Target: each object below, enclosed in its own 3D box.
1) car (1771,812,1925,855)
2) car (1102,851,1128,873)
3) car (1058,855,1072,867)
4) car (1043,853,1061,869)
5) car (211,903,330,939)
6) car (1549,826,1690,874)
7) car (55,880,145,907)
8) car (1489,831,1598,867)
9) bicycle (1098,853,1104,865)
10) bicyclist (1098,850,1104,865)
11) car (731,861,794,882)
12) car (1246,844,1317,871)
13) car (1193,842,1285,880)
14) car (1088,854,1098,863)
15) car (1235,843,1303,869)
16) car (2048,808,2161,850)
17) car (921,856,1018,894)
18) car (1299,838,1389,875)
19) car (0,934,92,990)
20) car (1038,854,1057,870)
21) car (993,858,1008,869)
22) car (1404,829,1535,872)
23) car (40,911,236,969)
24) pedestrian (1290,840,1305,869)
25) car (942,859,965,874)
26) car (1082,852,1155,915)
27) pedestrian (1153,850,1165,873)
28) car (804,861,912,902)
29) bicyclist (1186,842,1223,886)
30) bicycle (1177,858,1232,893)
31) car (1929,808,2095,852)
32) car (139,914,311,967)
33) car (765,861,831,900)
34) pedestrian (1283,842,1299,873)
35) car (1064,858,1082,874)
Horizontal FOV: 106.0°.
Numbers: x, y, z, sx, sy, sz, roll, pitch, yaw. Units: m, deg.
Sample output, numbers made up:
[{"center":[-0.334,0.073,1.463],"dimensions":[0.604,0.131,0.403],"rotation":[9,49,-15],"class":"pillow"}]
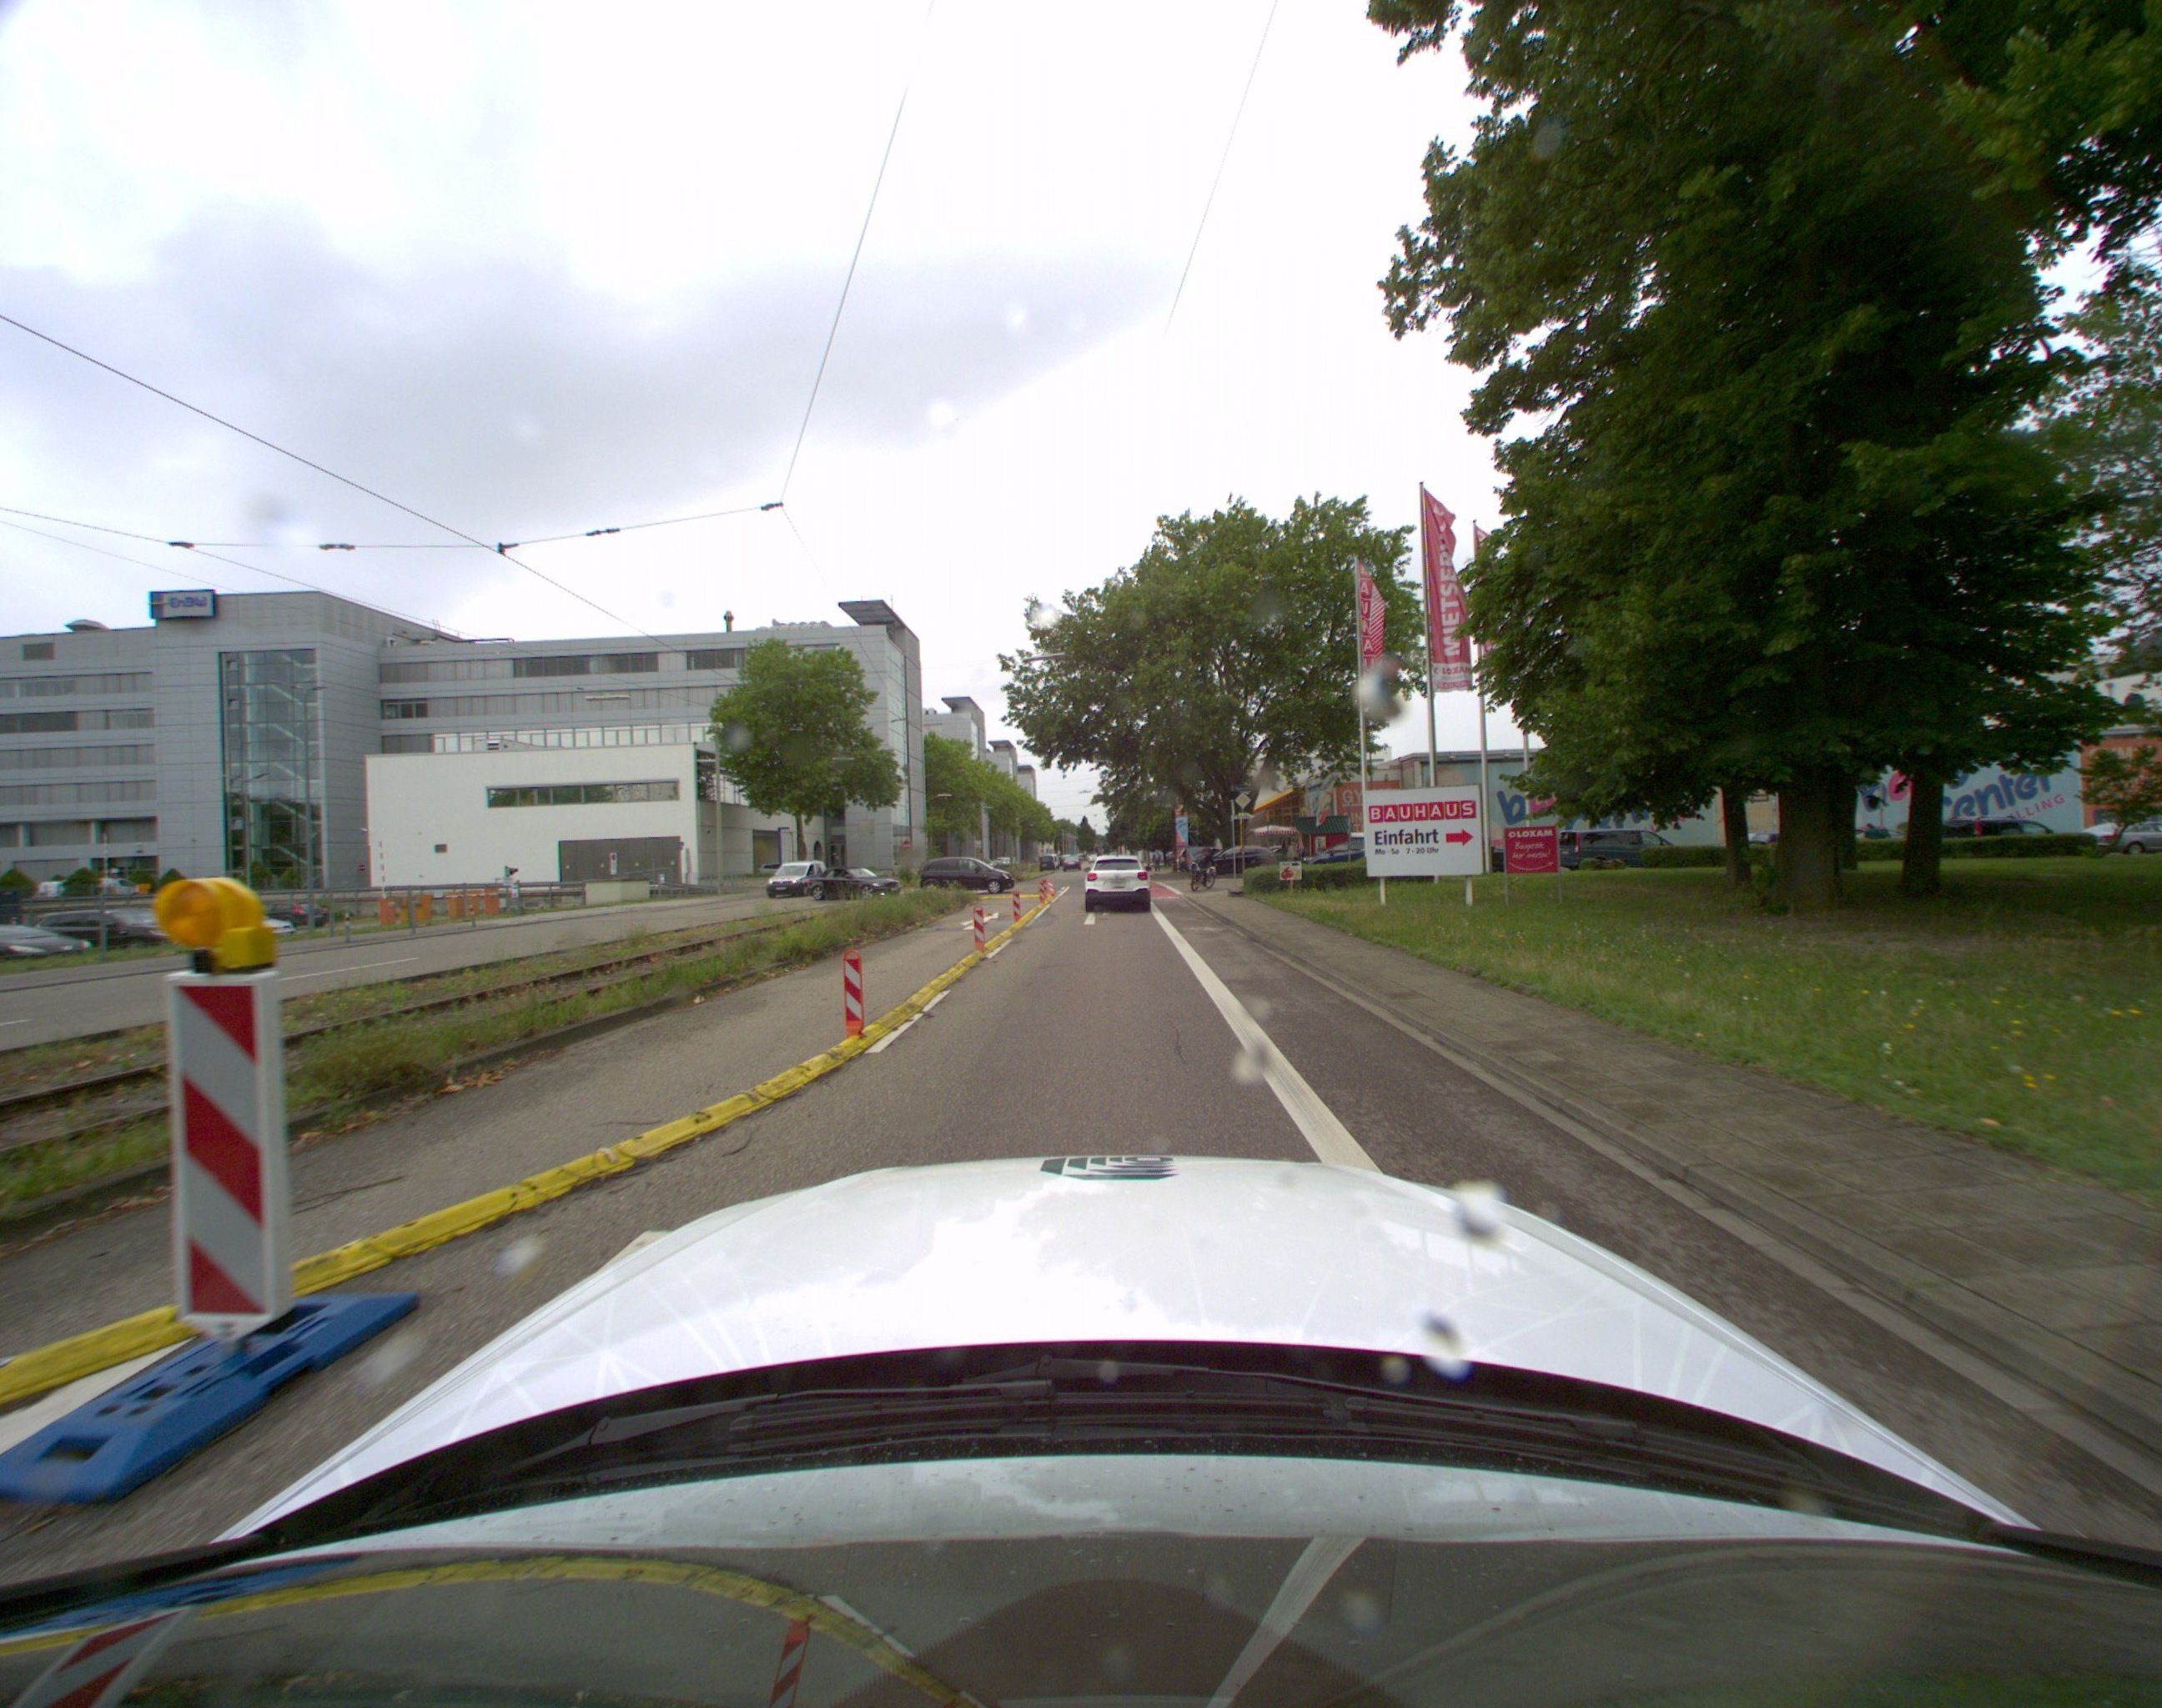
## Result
[{"center":[32.554,-0.849,34.670],"dimensions":[4.536,1.572,2.074],"rotation":[-3,0,1],"class":"car"},{"center":[2.703,0.622,65.778],"dimensions":[1.870,1.632,4.000],"rotation":[-3,0,1],"class":"car"},{"center":[-2.384,1.058,123.871],"dimensions":[1.870,1.763,4.000],"rotation":[-3,0,1],"class":"car"},{"center":[-3.400,0.844,95.474],"dimensions":[1.870,1.763,4.000],"rotation":[-3,0,1],"class":"car"},{"center":[-40.891,3.350,41.159],"dimensions":[3.975,1.485,1.912],"rotation":[-3,0,-1],"class":"car"},{"center":[22.734,-0.194,34.524],"dimensions":[4.536,1.790,2.074],"rotation":[-2,1,1],"class":"car"},{"center":[-84.805,3.381,70.527],"dimensions":[1.985,2.013,4.654],"rotation":[-3,0,3],"class":"car"},{"center":[24.475,-0.241,43.235],"dimensions":[4.531,1.677,2.084],"rotation":[-2,0,5],"class":"car"},{"center":[2.358,0.627,97.079],"dimensions":[0.669,1.394,2.166],"rotation":[-1,0,-1],"class":"bicycle"},{"center":[2.357,0.451,97.205],"dimensions":[0.669,1.815,0.759],"rotation":[-1,0,-1],"class":"bicyclist"},{"center":[-26.444,1.416,67.645],"dimensions":[4.499,1.670,1.824],"rotation":[-1,-1,-1],"class":"car"},{"center":[13.277,0.216,53.969],"dimensions":[4.200,1.551,1.789],"rotation":[-3,0,-1],"class":"car"},{"center":[8.023,0.340,41.706],"dimensions":[4.297,1.677,1.994],"rotation":[-3,0,2],"class":"car"},{"center":[2.210,0.828,150.812],"dimensions":[1.790,1.513,3.704],"rotation":[-1,0,-1],"class":"car"},{"center":[12.922,0.134,56.124],"dimensions":[4.200,1.551,1.789],"rotation":[-3,0,-1],"class":"car"},{"center":[44.160,-1.065,34.203],"dimensions":[4.536,1.572,2.074],"rotation":[-3,0,1],"class":"car"},{"center":[-4.719,0.871,34.868],"dimensions":[3.869,1.556,1.826],"rotation":[-1,-1,1],"class":"car"},{"center":[13.581,0.131,42.278],"dimensions":[4.187,1.677,1.998],"rotation":[-3,0,9],"class":"car"},{"center":[-30.855,3.077,22.757],"dimensions":[3.975,1.314,1.912],"rotation":[-3,0,-1],"class":"car"},{"center":[-3.659,0.893,89.660],"dimensions":[1.870,1.632,4.000],"rotation":[-3,0,1],"class":"car"},{"center":[-13.226,1.486,133.924],"dimensions":[1.870,1.632,4.206],"rotation":[-3,0,1],"class":"car"},{"center":[16.312,-0.150,34.333],"dimensions":[4.536,1.572,1.993],"rotation":[-3,0,1],"class":"car"},{"center":[-30.351,2.730,26.323],"dimensions":[3.975,1.485,1.912],"rotation":[-3,0,-1],"class":"car"},{"center":[12.933,0.016,48.632],"dimensions":[0.677,1.705,0.598],"rotation":[-3,0,-1],"class":"pedestrian"},{"center":[-14.719,1.428,94.524],"dimensions":[1.870,1.632,4.206],"rotation":[-3,0,1],"class":"car"},{"center":[0.984,0.759,23.117],"dimensions":[1.818,1.600,3.774],"rotation":[-1,0,-1],"class":"car"},{"center":[6.004,0.589,62.633],"dimensions":[0.759,1.705,0.681],"rotation":[-3,0,-3],"class":"pedestrian"},{"center":[-9.406,1.150,34.324],"dimensions":[4.079,1.475,1.835],"rotation":[-4,-2,24],"class":"car"},{"center":[4.826,0.381,31.751],"dimensions":[0.808,1.630,1.243],"rotation":[-3,0,39],"class":"bicyclist"},{"center":[4.849,0.826,31.750],"dimensions":[0.808,1.212,2.700],"rotation":[-3,0,39],"class":"bicycle"},{"center":[39.101,-1.001,34.305],"dimensions":[4.536,1.572,2.074],"rotation":[-3,0,1],"class":"car"},{"center":[-30.391,3.062,29.015],"dimensions":[3.975,1.485,1.912],"rotation":[-3,0,-1],"class":"car"},{"center":[-14.208,1.277,41.212],"dimensions":[1.814,1.783,4.424],"rotation":[-3,0,-2],"class":"car"},{"center":[11.826,0.178,45.957],"dimensions":[0.677,1.705,0.598],"rotation":[-3,0,-1],"class":"pedestrian"},{"center":[-0.803,1.216,81.404],"dimensions":[1.679,1.513,3.704],"rotation":[-1,0,-1],"class":"car"}]
